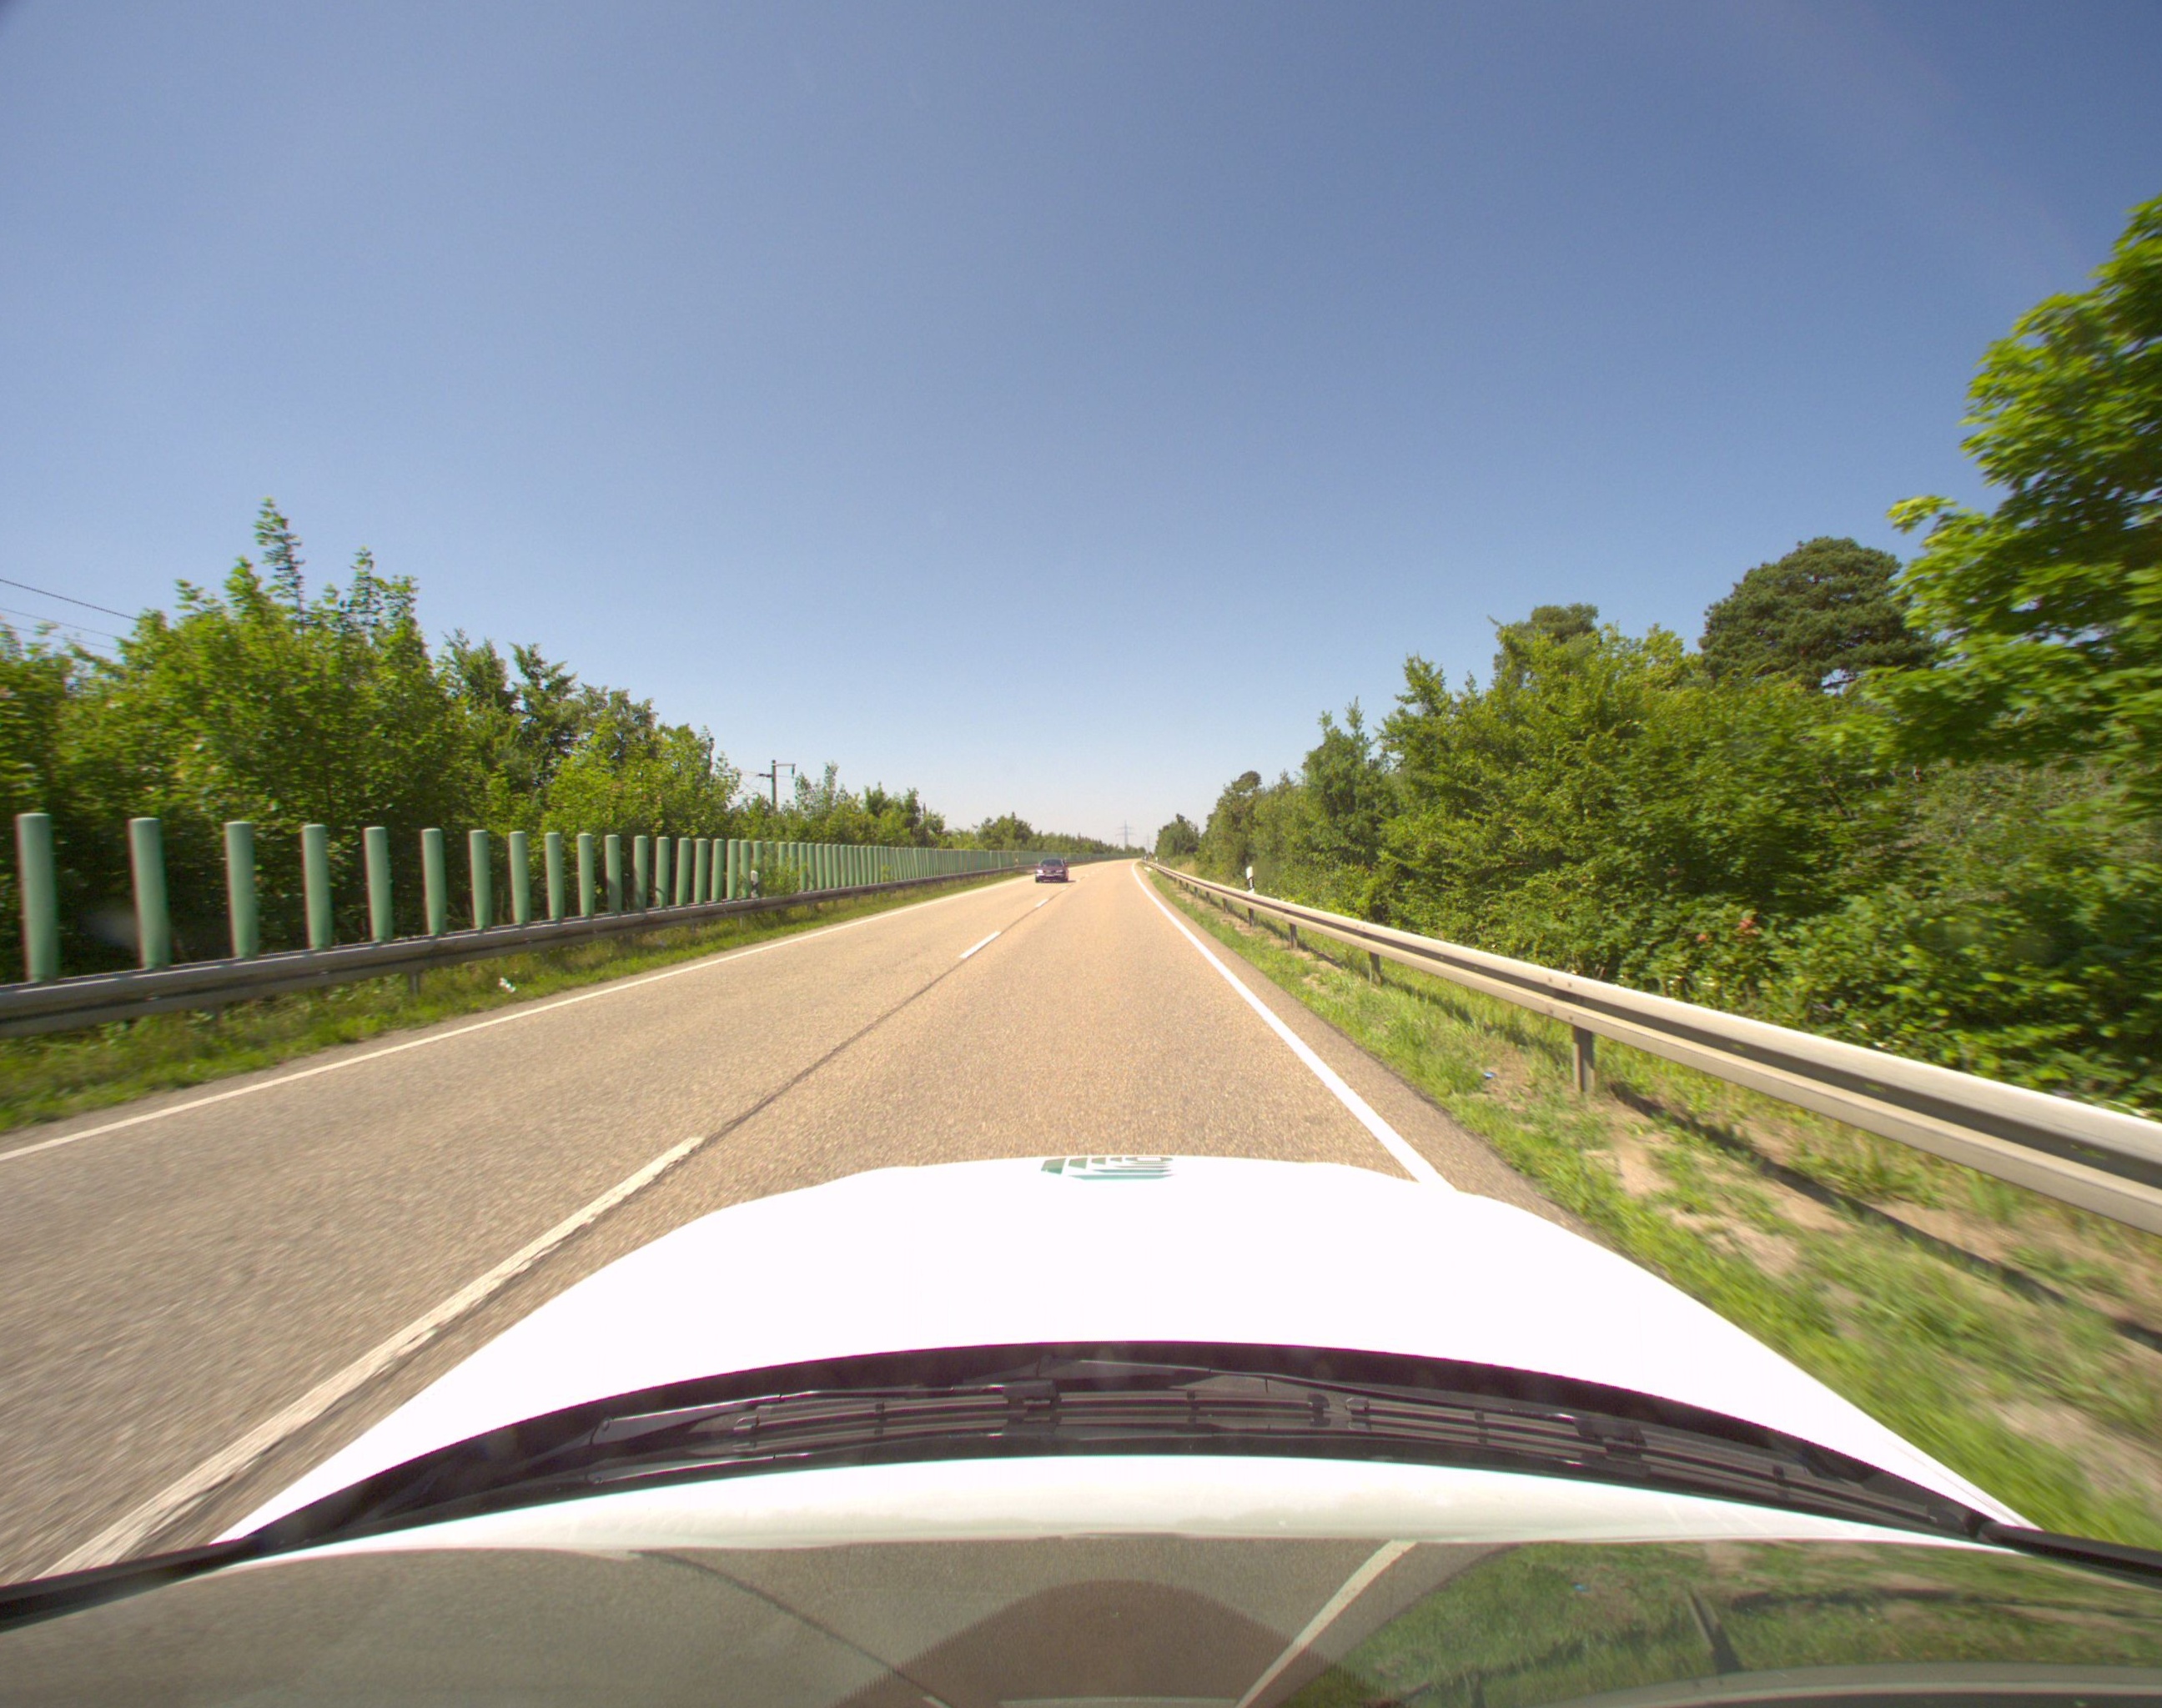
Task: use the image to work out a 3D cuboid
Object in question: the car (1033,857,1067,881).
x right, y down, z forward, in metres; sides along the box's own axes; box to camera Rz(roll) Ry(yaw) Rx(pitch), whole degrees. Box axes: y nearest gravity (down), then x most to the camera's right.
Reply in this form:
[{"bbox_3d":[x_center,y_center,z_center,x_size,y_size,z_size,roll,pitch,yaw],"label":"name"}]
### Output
[{"bbox_3d":[-1.770,0.859,48.255,1.780,1.371,3.897,-1,0,1],"label":"car"}]
